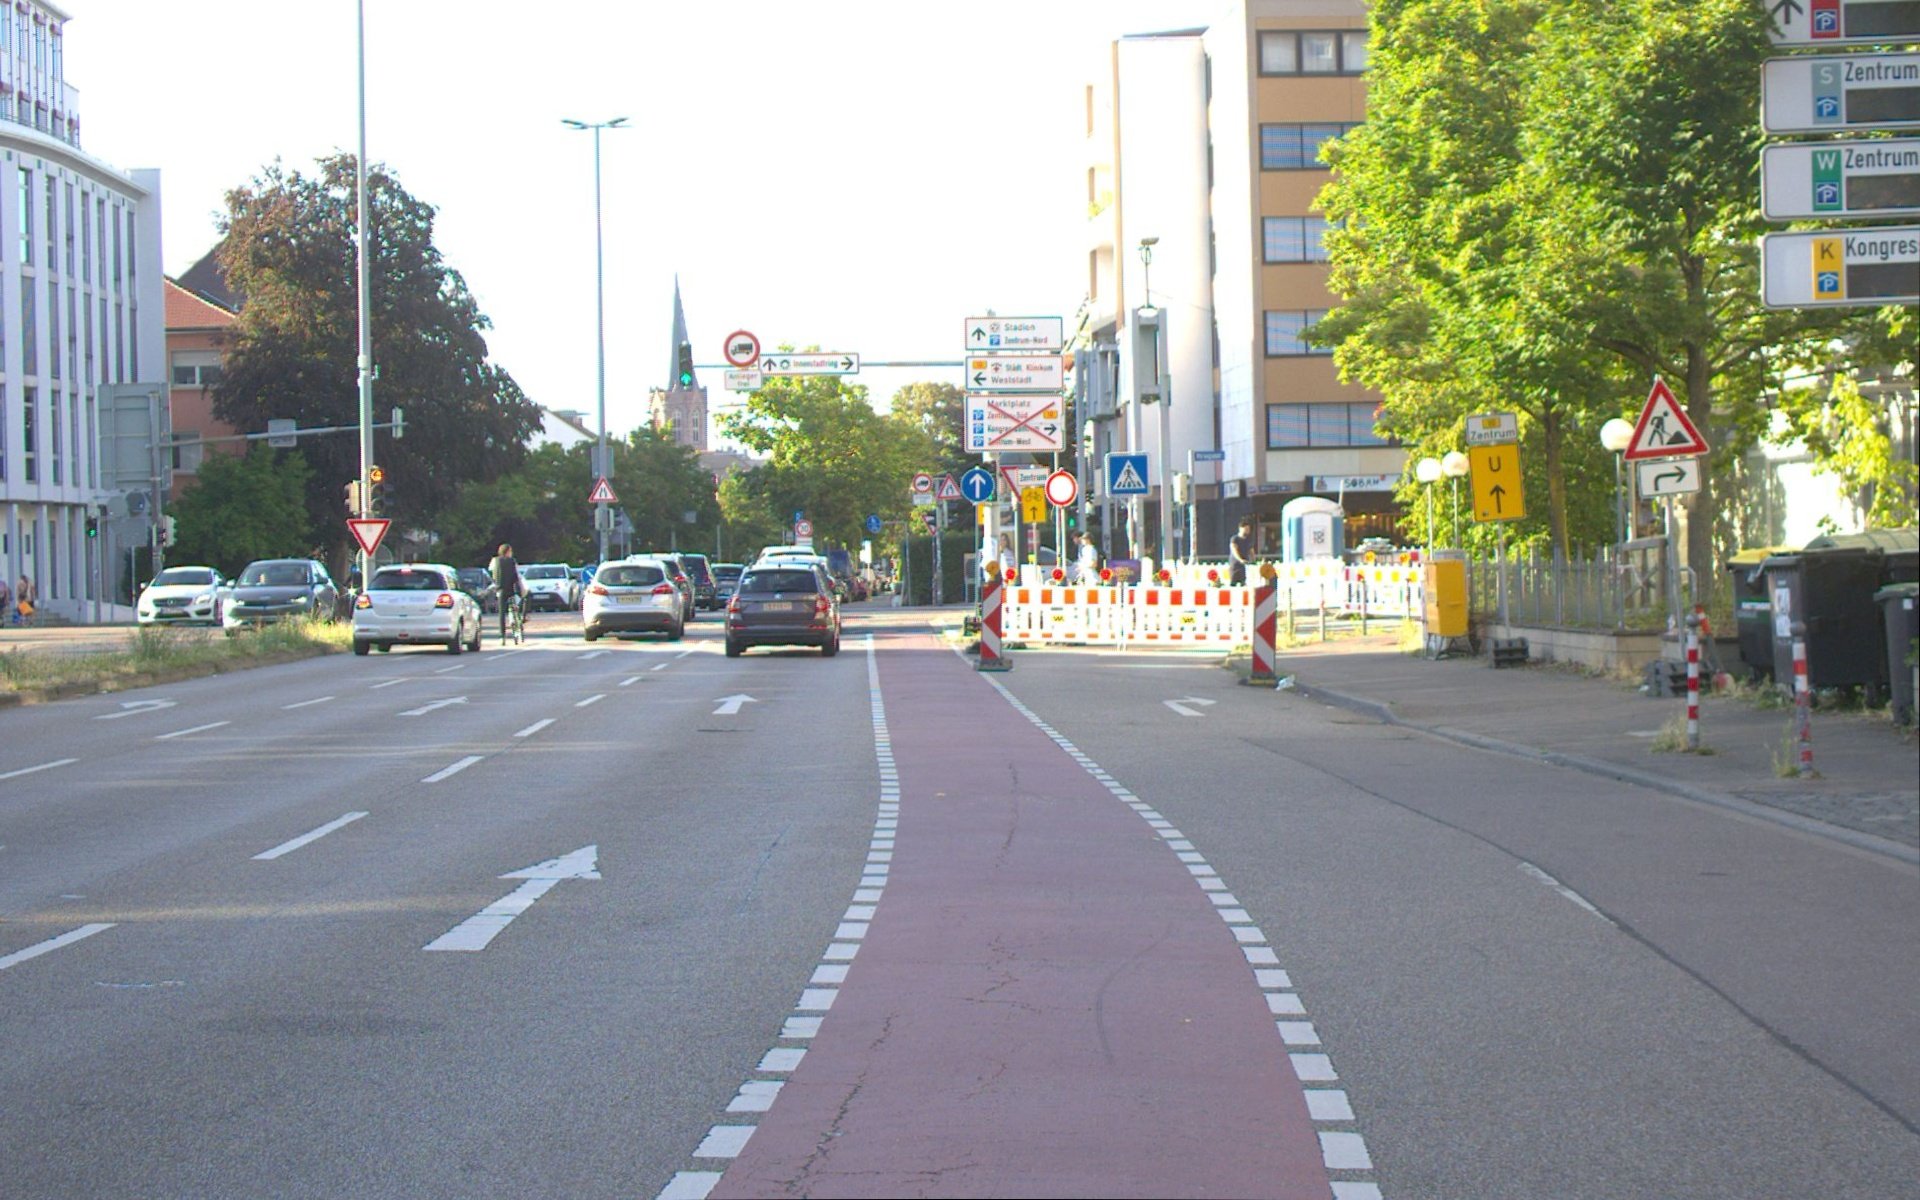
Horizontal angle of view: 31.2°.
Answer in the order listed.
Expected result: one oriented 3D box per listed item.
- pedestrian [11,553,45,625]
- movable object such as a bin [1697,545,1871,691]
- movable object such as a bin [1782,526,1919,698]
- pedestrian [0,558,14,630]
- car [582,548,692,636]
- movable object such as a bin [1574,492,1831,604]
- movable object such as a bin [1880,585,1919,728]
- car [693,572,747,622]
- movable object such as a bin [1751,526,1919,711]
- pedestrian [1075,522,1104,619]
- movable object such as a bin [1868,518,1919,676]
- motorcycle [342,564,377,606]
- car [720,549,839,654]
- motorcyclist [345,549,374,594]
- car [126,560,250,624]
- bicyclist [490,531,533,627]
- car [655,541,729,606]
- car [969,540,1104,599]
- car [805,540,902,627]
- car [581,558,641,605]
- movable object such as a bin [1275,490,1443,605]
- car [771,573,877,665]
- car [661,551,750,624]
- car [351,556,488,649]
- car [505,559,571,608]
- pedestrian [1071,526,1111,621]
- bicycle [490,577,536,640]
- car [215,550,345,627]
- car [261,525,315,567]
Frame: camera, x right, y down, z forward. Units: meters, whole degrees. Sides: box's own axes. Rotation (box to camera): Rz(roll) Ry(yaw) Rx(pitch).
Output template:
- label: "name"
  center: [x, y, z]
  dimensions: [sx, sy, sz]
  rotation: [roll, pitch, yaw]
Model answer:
- label: "pedestrian"
  center: [-24.341, -0.287, 89.809]
  dimensions: [0.626, 1.862, 1.127]
  rotation: [-1, 1, -6]
- label: "movable object such as a bin"
  center: [7.819, 0.161, 32.668]
  dimensions: [1.213, 1.339, 1.055]
  rotation: [-1, 1, -17]
- label: "movable object such as a bin"
  center: [8.225, 0.093, 30.677]
  dimensions: [1.326, 1.479, 1.211]
  rotation: [-1, 1, -11]
- label: "pedestrian"
  center: [-25.108, -0.162, 89.659]
  dimensions: [0.660, 1.862, 0.778]
  rotation: [-1, 1, -4]
- label: "car"
  center: [-6.004, -0.182, 64.301]
  dimensions: [1.748, 1.559, 4.050]
  rotation: [-1, 1, -1]
- label: "movable object such as a bin"
  center: [17.405, -1.215, 80.811]
  dimensions: [5.348, 2.481, 2.549]
  rotation: [-1, 1, -4]
- label: "movable object such as a bin"
  center: [7.243, 0.410, 25.580]
  dimensions: [0.619, 1.042, 0.616]
  rotation: [-1, 1, 1]
- label: "car"
  center: [-8.392, -0.124, 120.437]
  dimensions: [1.664, 1.652, 4.000]
  rotation: [-1, 1, -1]
- label: "movable object such as a bin"
  center: [7.381, 0.173, 28.933]
  dimensions: [1.092, 1.503, 1.254]
  rotation: [-1, -2, -2]
- label: "pedestrian"
  center: [2.507, -0.572, 66.491]
  dimensions: [0.520, 1.862, 0.614]
  rotation: [-1, 0, 2]
- label: "movable object such as a bin"
  center: [9.356, -0.042, 32.748]
  dimensions: [1.103, 1.479, 0.956]
  rotation: [-1, 1, -3]
- label: "motorcycle"
  center: [-18.973, -0.483, 108.670]
  dimensions: [0.770, 1.280, 2.843]
  rotation: [-1, 1, -4]
- label: "car"
  center: [-2.843, -0.007, 54.723]
  dimensions: [1.748, 1.559, 4.050]
  rotation: [-1, 1, -1]
- label: "motorcyclist"
  center: [-19.001, -0.910, 108.830]
  dimensions: [0.770, 1.414, 1.238]
  rotation: [-1, 1, -4]
- label: "car"
  center: [-18.486, -0.216, 82.536]
  dimensions: [1.993, 1.408, 4.444]
  rotation: [-2, 1, -1]
- label: "bicyclist"
  center: [-8.115, -0.381, 62.249]
  dimensions: [0.690, 1.722, 0.988]
  rotation: [-1, 1, -5]
- label: "car"
  center: [-7.036, -0.708, 90.583]
  dimensions: [1.664, 1.652, 4.000]
  rotation: [-1, 1, -1]
- label: "car"
  center: [2.557, -1.021, 115.562]
  dimensions: [4.363, 1.871, 2.000]
  rotation: [-1, 1, -3]
- label: "car"
  center: [-2.149, -0.344, 68.497]
  dimensions: [1.819, 1.634, 4.001]
  rotation: [-1, 1, -3]
- label: "car"
  center: [-11.400, -0.621, 112.588]
  dimensions: [1.847, 1.456, 4.050]
  rotation: [-1, 1, -5]
- label: "movable object such as a bin"
  center: [8.529, -1.122, 73.591]
  dimensions: [3.328, 2.375, 1.529]
  rotation: [-1, 1, -2]
- label: "car"
  center: [-2.476, 0.327, 63.217]
  dimensions: [1.728, 1.573, 3.723]
  rotation: [-1, 1, 1]
- label: "car"
  center: [-5.695, -0.313, 77.257]
  dimensions: [1.748, 1.559, 4.050]
  rotation: [-1, 1, -1]
- label: "car"
  center: [-8.937, 0.011, 57.107]
  dimensions: [1.685, 1.452, 4.000]
  rotation: [-1, 1, -1]
- label: "car"
  center: [-13.093, -0.524, 106.891]
  dimensions: [1.847, 1.456, 4.050]
  rotation: [-1, 1, -5]
- label: "pedestrian"
  center: [2.503, -0.502, 65.717]
  dimensions: [0.741, 1.793, 0.715]
  rotation: [-1, 0, 2]
- label: "bicycle"
  center: [-8.113, 0.151, 62.403]
  dimensions: [0.699, 1.096, 2.258]
  rotation: [-1, 1, -5]
- label: "car"
  center: [-14.502, -0.266, 73.544]
  dimensions: [1.993, 1.573, 4.900]
  rotation: [-1, 1, -3]
- label: "car"
  center: [-25.834, -2.056, 132.313]
  dimensions: [1.840, 1.566, 4.001]
  rotation: [-1, 1, -9]
